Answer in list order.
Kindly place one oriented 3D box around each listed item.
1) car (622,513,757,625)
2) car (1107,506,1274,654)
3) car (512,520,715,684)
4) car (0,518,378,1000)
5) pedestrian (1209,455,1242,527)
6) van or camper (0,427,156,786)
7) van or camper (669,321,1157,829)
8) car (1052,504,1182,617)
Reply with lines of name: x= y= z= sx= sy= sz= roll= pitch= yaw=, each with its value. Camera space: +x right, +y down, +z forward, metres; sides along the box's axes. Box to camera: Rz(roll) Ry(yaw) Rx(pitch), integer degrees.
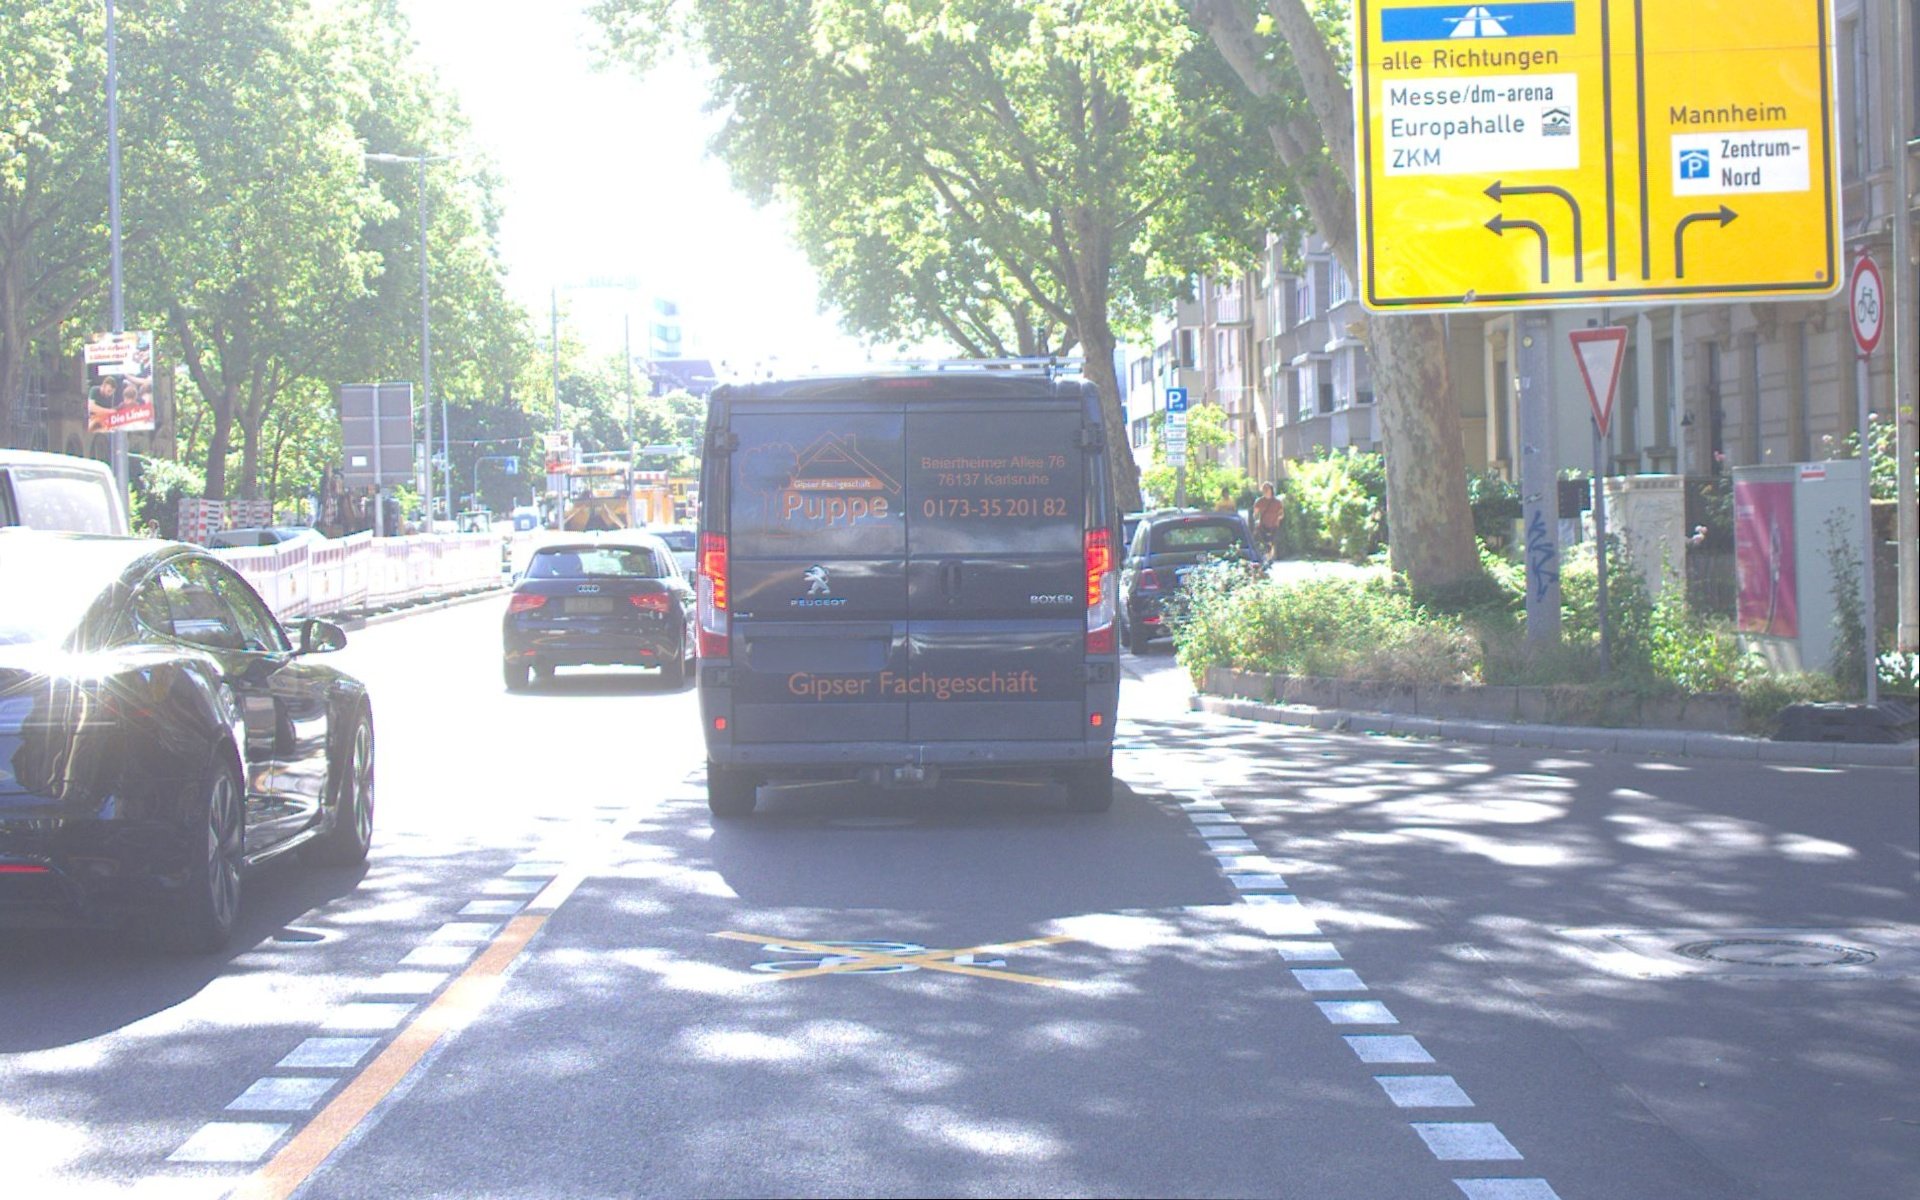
car: x=-3.717 y=-0.455 z=47.688 sx=1.619 sy=1.481 sz=3.734 roll=0 pitch=1 yaw=-1
car: x=2.562 y=-0.256 z=38.638 sx=1.773 sy=1.563 sz=4.000 roll=0 pitch=1 yaw=3
car: x=-3.281 y=-0.029 z=33.122 sx=1.619 sy=1.481 sz=3.734 roll=0 pitch=1 yaw=-1
car: x=-3.445 y=0.443 z=12.800 sx=1.837 sy=1.478 sz=4.476 roll=-1 pitch=1 yaw=-1
pedestrian: x=8.696 y=-3.562 z=112.636 sx=1.058 sy=2.337 sz=0.816 roll=0 pitch=1 yaw=2
van or camper: x=-6.388 y=0.005 z=20.548 sx=1.993 sy=2.007 sz=5.329 roll=0 pitch=1 yaw=-1
van or camper: x=-0.300 y=-0.170 z=18.224 sx=2.245 sy=2.338 sz=4.538 roll=-1 pitch=1 yaw=-2
car: x=2.300 y=-0.609 z=51.192 sx=1.773 sy=1.563 sz=4.000 roll=-2 pitch=1 yaw=1
